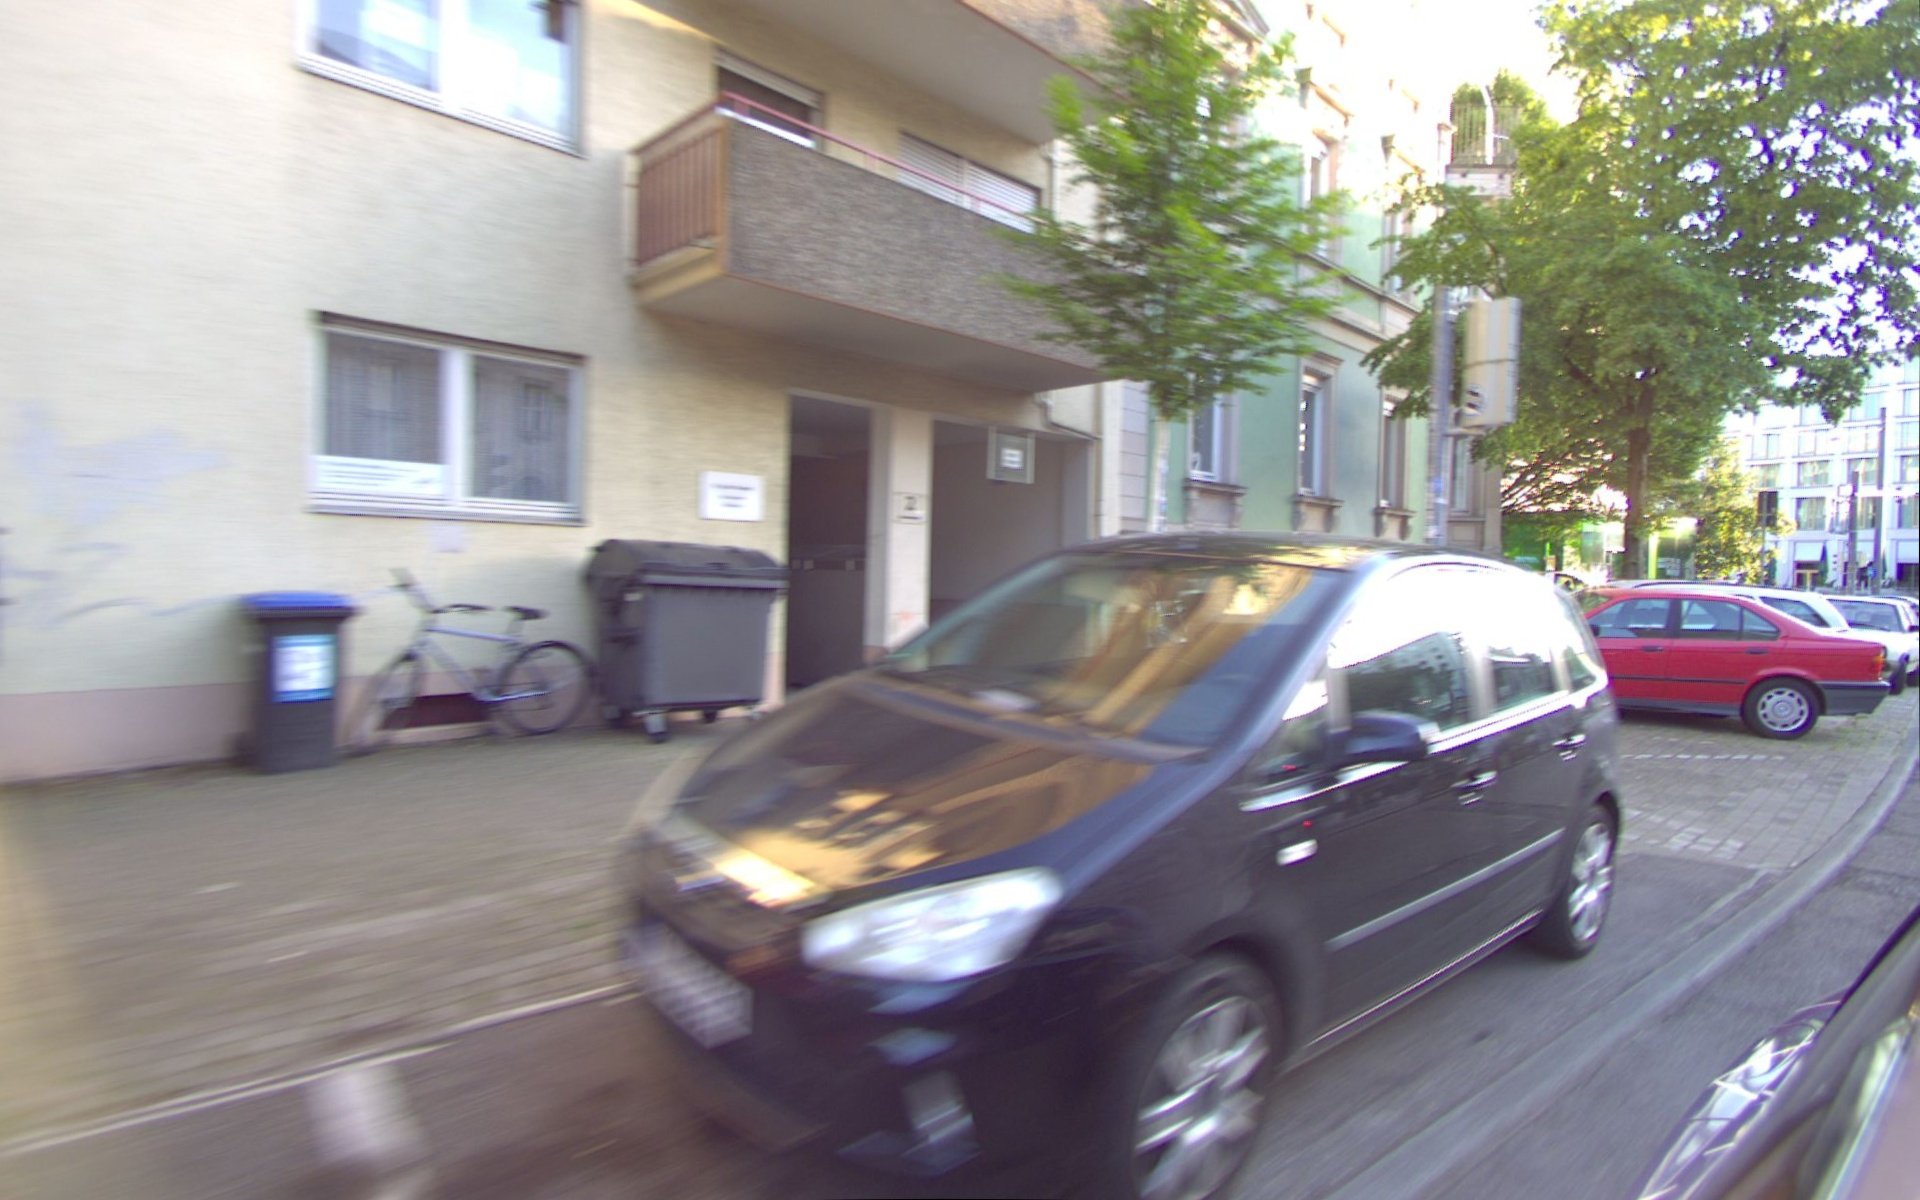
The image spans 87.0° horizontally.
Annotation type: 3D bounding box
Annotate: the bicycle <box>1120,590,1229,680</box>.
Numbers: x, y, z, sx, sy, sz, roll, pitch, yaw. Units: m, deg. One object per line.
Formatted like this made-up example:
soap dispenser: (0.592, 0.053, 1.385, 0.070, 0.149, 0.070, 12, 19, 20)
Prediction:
bicycle: (2.809, 0.418, 13.186, 0.651, 1.088, 1.531, 2, 2, 45)

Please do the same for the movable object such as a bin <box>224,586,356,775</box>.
movable object such as a bin: (-4.042, 0.450, 6.107, 0.554, 1.060, 0.562, 2, 1, 44)

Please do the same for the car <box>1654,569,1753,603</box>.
car: (45.018, -0.892, 61.399, 1.770, 1.935, 4.469, 0, 2, -32)

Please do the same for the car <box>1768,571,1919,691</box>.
car: (14.445, 0.408, 16.193, 3.932, 1.571, 1.683, 0, 5, -42)

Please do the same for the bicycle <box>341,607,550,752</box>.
bicycle: (-3.478, 0.498, 6.902, 0.412, 0.875, 1.208, 2, 2, 39)

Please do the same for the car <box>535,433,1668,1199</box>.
car: (0.868, 0.491, 3.579, 4.018, 1.651, 1.747, -1, 4, -42)

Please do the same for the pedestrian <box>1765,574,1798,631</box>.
pedestrian: (26.479, 0.074, 32.627, 0.706, 1.790, 0.974, 2, 2, 44)

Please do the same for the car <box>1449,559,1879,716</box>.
car: (8.777, 0.389, 13.060, 4.152, 1.746, 1.713, 1, 1, 17)

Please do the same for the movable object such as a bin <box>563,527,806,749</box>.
movable object such as a bin: (-2.127, 0.239, 7.850, 1.114, 1.520, 1.458, 2, 2, 45)

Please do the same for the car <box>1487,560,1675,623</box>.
car: (16.970, -0.274, 27.848, 1.768, 1.593, 4.001, 1, 1, -31)

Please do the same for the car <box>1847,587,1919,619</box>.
car: (44.790, 0.150, 47.676, 1.664, 1.438, 4.179, 0, 2, -29)

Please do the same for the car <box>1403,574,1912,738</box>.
car: (7.151, 0.493, 10.892, 4.152, 1.472, 1.637, 1, 1, 17)
